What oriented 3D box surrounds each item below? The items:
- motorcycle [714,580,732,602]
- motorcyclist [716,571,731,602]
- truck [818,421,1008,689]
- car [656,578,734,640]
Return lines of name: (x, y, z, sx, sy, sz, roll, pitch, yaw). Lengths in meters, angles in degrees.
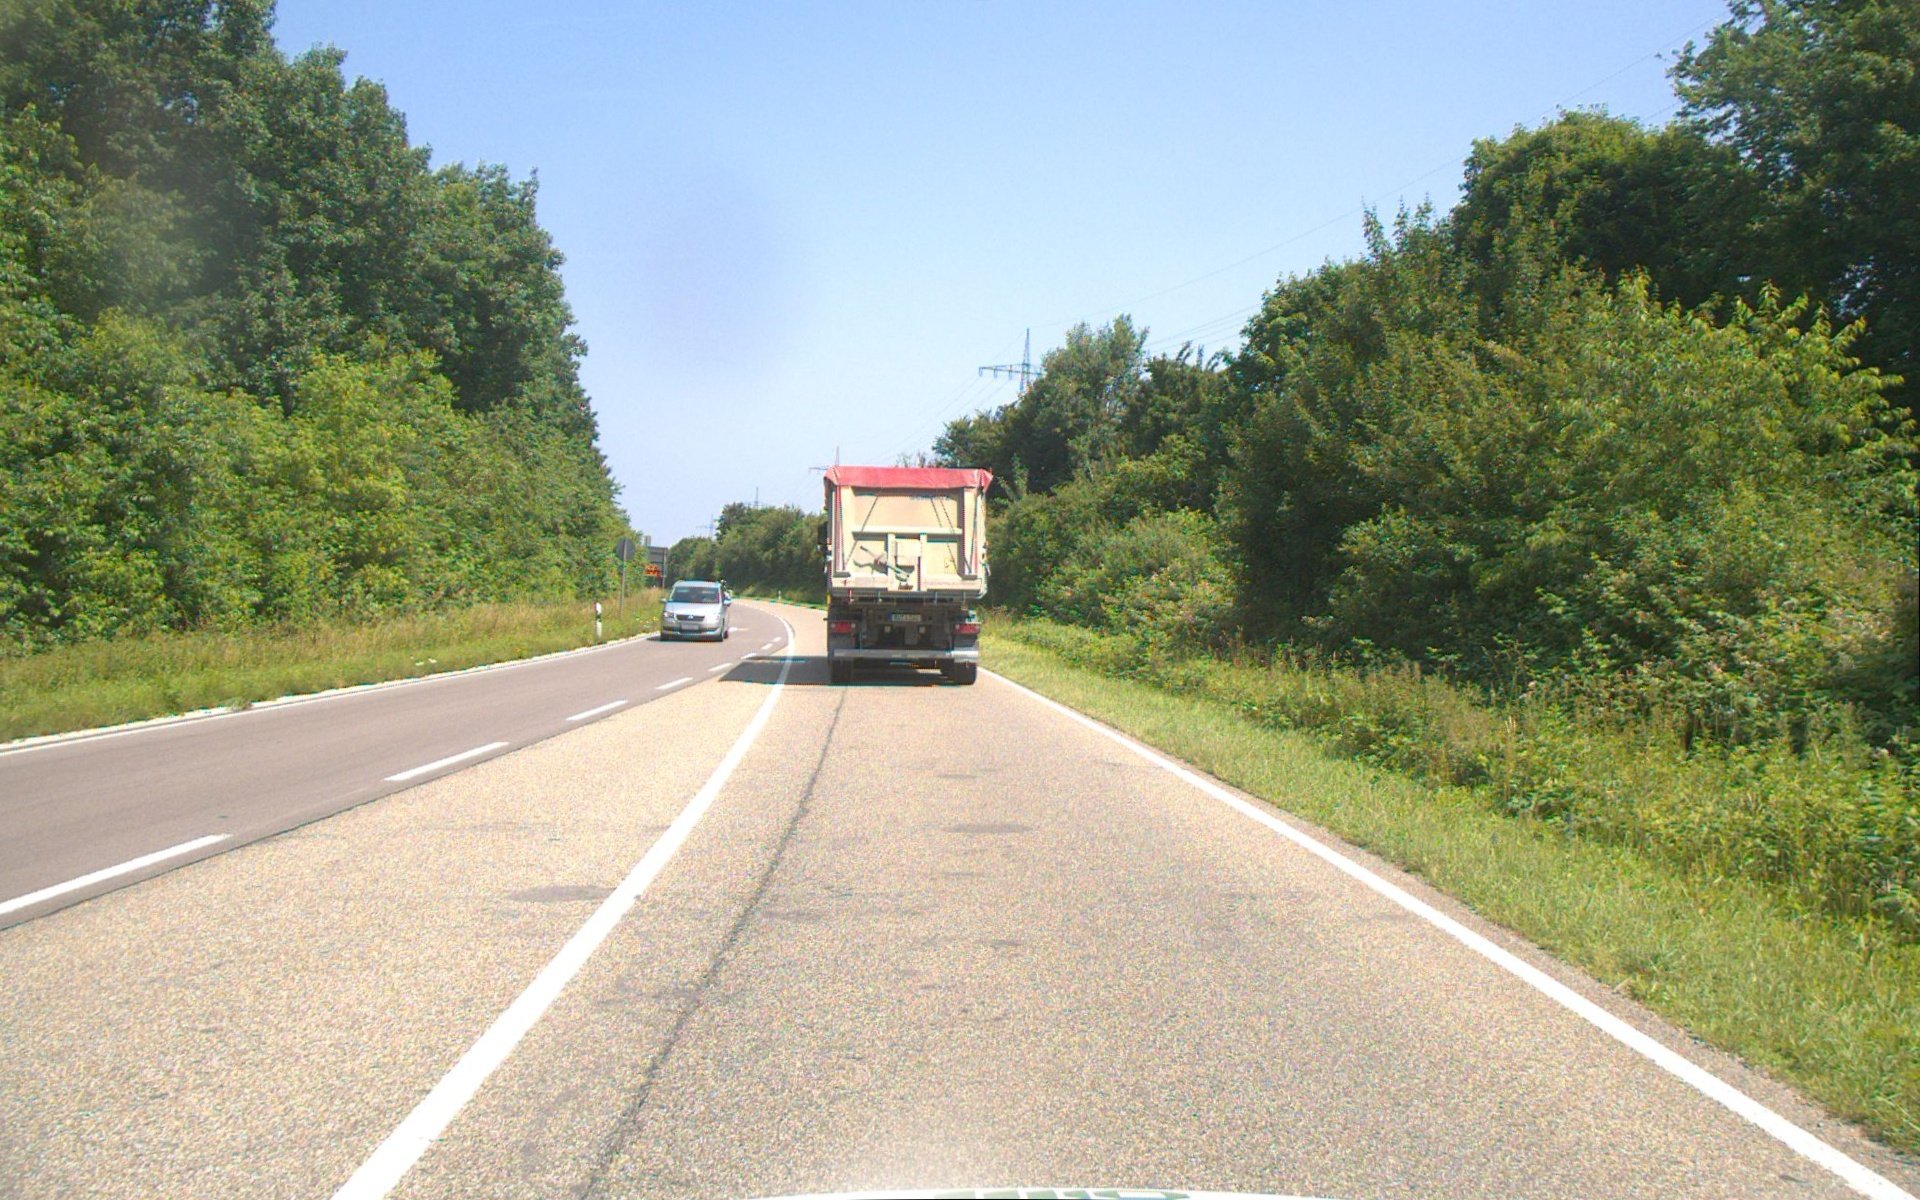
motorcycle: (-13.786, -0.531, 96.274, 0.929, 1.272, 2.678, 1, 0, -7)
motorcyclist: (-13.852, -0.800, 96.760, 0.815, 1.782, 0.622, 1, 0, -8)
truck: (-1.188, -0.730, 31.207, 2.837, 4.031, 11.921, 1, 0, -5)
car: (-7.530, 0.253, 47.319, 1.766, 1.665, 4.209, 1, 0, -4)
